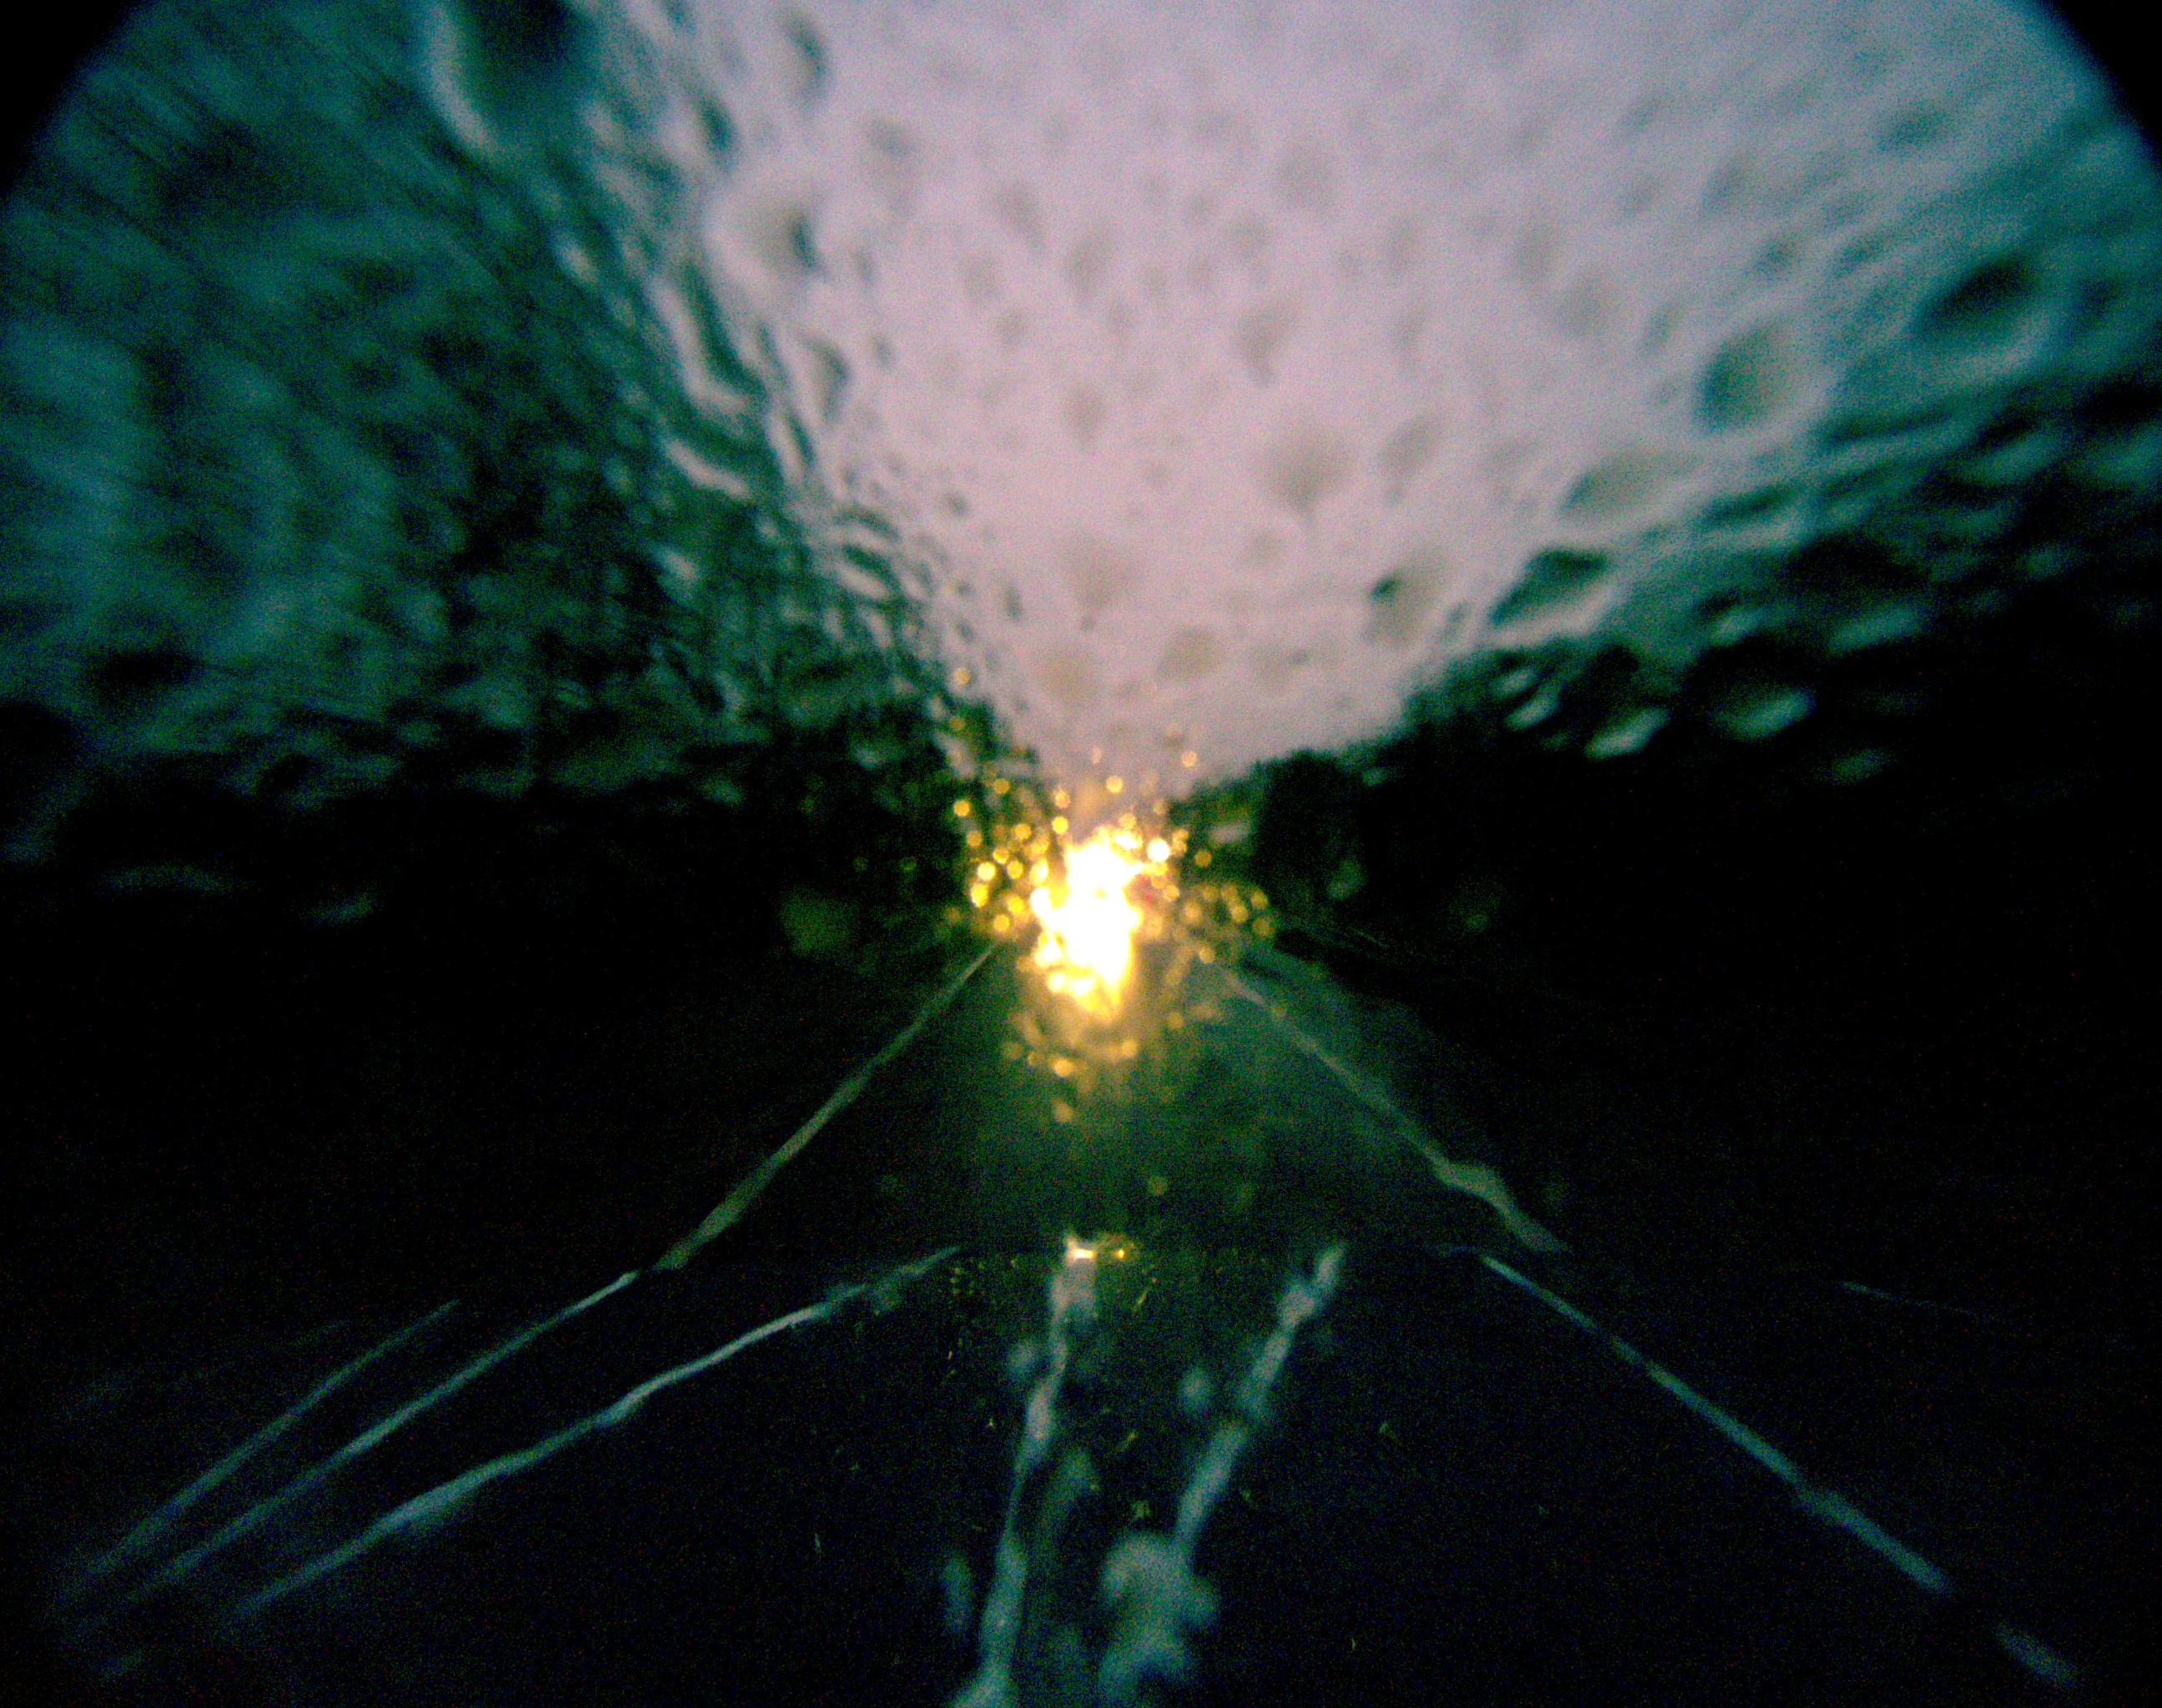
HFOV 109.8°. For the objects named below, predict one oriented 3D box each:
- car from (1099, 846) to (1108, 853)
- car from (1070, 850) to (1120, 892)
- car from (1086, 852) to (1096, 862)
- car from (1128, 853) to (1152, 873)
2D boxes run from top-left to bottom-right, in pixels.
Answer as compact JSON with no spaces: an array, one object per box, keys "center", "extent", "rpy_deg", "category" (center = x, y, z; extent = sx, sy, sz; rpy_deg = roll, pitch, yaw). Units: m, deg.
[{"center":[5.261,-1.103,177.234],"extent":[1.753,1.543,3.992],"rpy_deg":[-1,0,-1],"category":"car"},{"center":[0.595,0.707,33.729],"extent":[1.998,1.672,4.000],"rpy_deg":[-2,0,0],"category":"car"},{"center":[1.701,0.454,128.516],"extent":[1.753,1.643,4.000],"rpy_deg":[-1,0,1],"category":"car"},{"center":[4.417,0.652,57.581],"extent":[1.602,1.487,3.895],"rpy_deg":[1,0,1],"category":"car"}]
